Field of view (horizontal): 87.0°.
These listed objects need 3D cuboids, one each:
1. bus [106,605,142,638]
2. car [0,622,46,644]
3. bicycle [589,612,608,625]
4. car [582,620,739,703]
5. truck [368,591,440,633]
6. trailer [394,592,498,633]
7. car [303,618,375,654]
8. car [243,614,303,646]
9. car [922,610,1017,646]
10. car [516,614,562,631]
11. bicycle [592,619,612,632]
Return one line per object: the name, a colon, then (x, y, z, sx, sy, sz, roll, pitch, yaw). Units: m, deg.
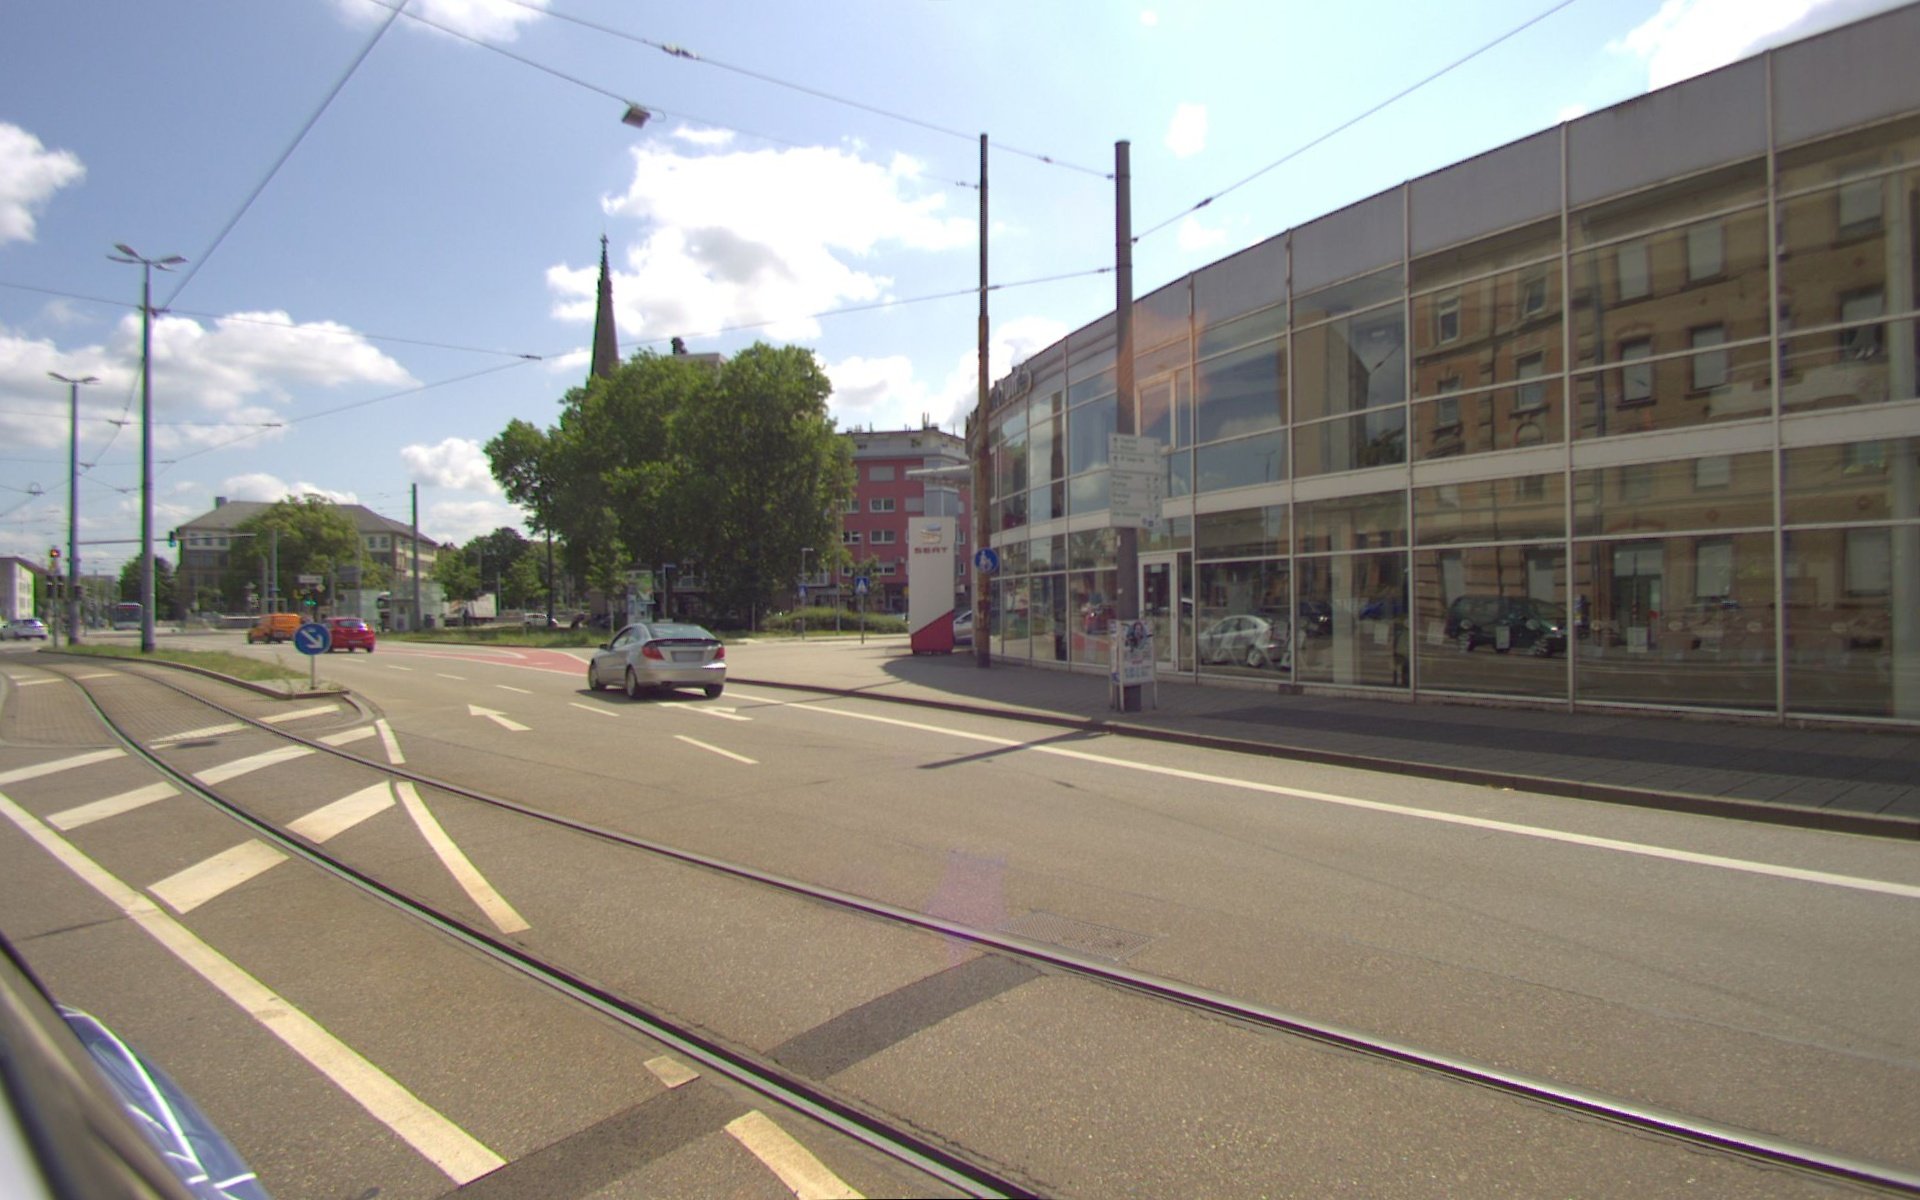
bus: (-91.934, 2.415, 111.359, 2.905, 3.473, 7.962, 0, -1, -39)
car: (-69.588, 2.425, 74.848, 4.478, 1.616, 1.753, -1, -2, 32)
bicycle: (-32.979, 1.670, 92.407, 1.584, 1.176, 0.492, -1, 0, 10)
car: (-5.890, 1.107, 19.592, 1.790, 1.431, 4.199, 1, -2, -33)
truck: (-56.608, 1.226, 103.242, 2.930, 4.150, 6.858, -1, -1, 9)
trailer: (-55.553, 1.346, 110.014, 2.915, 4.107, 13.381, -1, -1, 9)
car: (-26.149, 1.507, 42.567, 3.903, 1.439, 1.683, -1, -2, 44)
car: (-42.105, 1.842, 61.993, 4.363, 1.880, 1.892, -1, -2, 39)
car: (0.427, 1.172, 42.688, 3.896, 1.457, 1.833, -1, 0, 5)
car: (-43.182, 2.262, 103.803, 4.102, 1.655, 1.634, -1, -1, -32)
bicycle: (-31.447, 2.247, 88.962, 1.584, 1.074, 0.492, -1, 0, 10)
